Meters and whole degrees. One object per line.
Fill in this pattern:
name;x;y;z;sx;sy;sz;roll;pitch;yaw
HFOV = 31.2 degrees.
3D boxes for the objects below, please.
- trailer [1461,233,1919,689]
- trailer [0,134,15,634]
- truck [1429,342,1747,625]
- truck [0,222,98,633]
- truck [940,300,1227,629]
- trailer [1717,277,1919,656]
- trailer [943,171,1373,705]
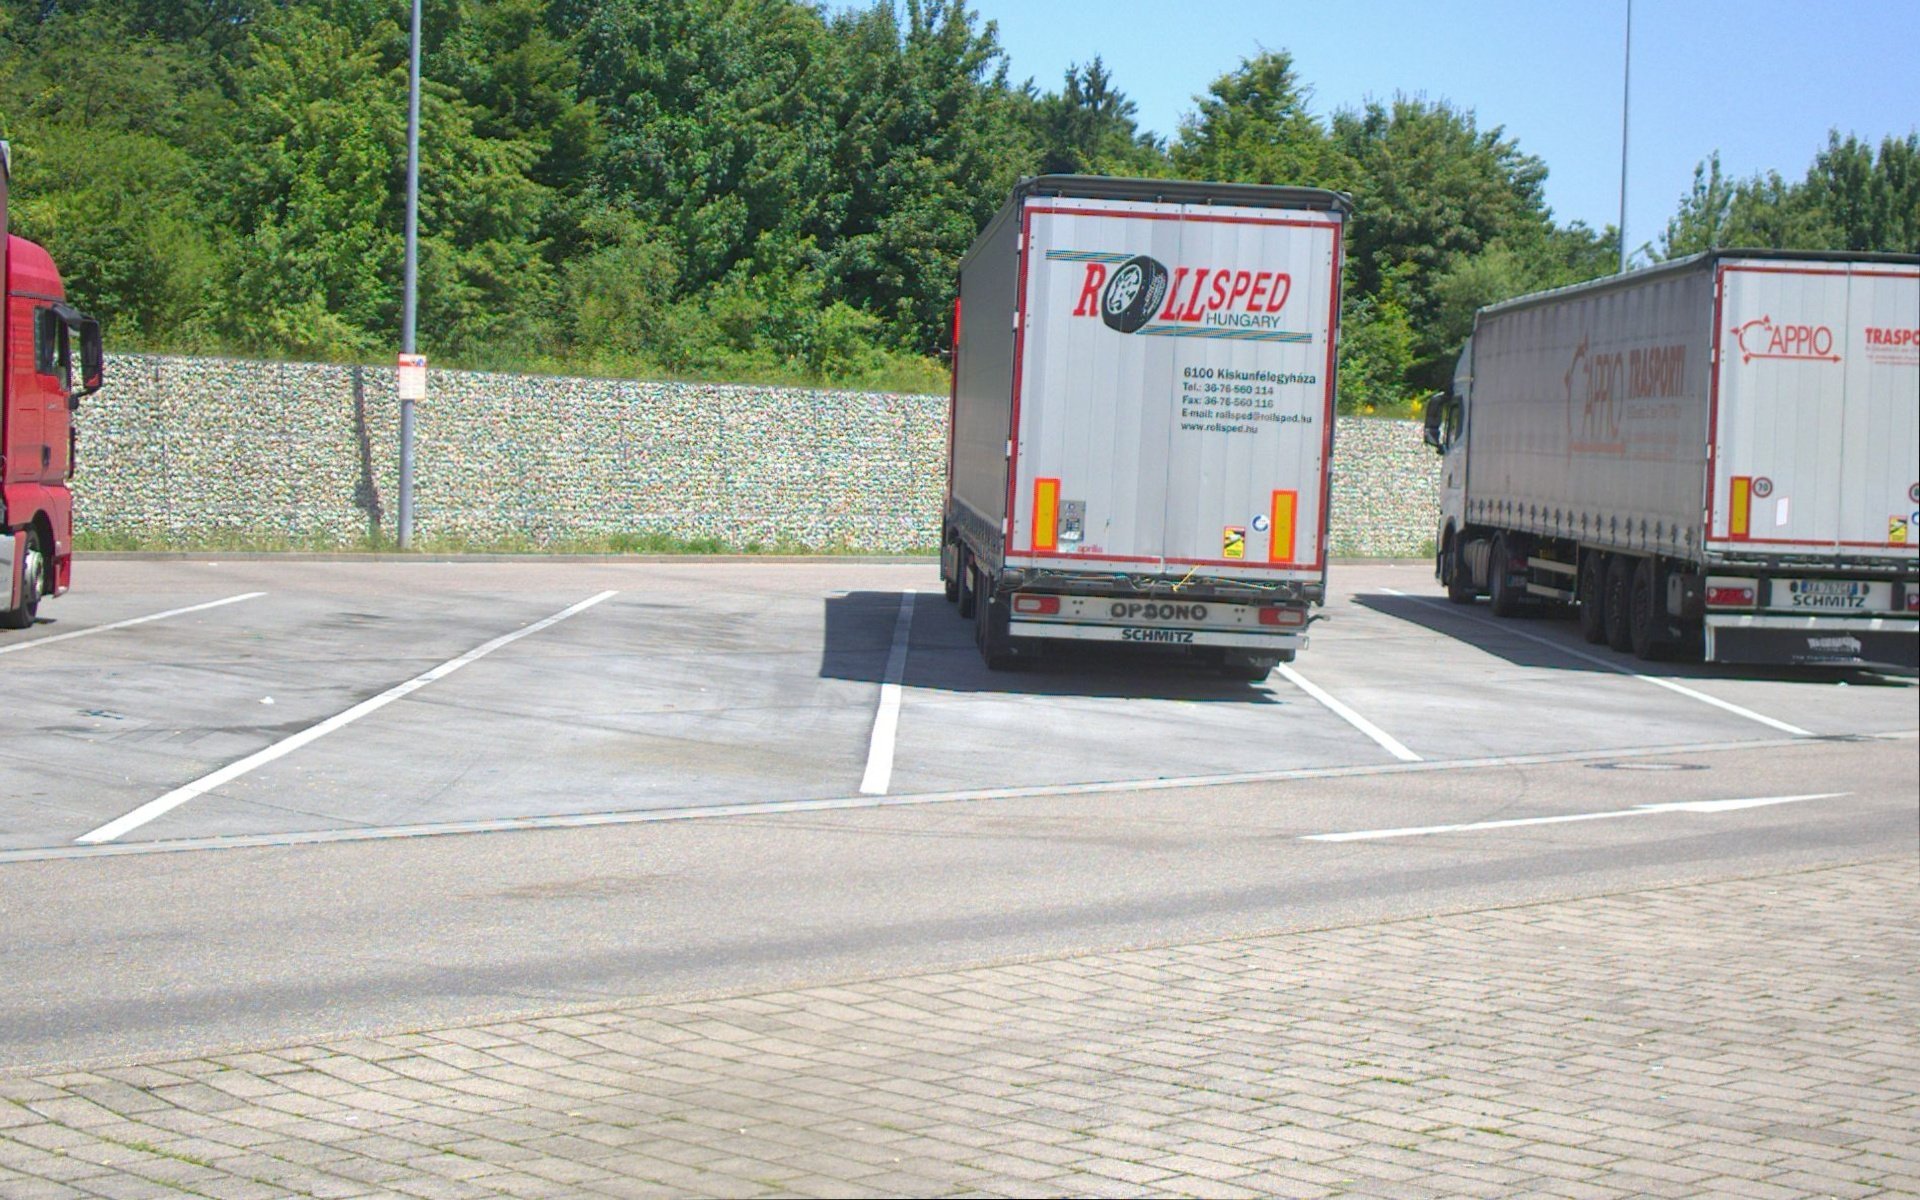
trailer;8.201;-1.591;38.346;2.858;4.095;13.765;2;3;-1
trailer;-9.151;-1.467;21.350;2.821;4.057;13.765;2;3;-1
truck;8.099;-1.571;45.112;2.865;3.351;5.975;2;3;-1
truck;-9.239;-1.458;28.169;2.812;3.351;5.975;2;3;-1
truck;1.288;-1.575;39.293;2.865;3.351;5.975;2;3;-1
trailer;11.798;-1.507;39.358;2.858;4.095;13.765;2;3;-1
trailer;1.472;-1.570;33.091;2.858;3.958;13.765;2;3;-1
